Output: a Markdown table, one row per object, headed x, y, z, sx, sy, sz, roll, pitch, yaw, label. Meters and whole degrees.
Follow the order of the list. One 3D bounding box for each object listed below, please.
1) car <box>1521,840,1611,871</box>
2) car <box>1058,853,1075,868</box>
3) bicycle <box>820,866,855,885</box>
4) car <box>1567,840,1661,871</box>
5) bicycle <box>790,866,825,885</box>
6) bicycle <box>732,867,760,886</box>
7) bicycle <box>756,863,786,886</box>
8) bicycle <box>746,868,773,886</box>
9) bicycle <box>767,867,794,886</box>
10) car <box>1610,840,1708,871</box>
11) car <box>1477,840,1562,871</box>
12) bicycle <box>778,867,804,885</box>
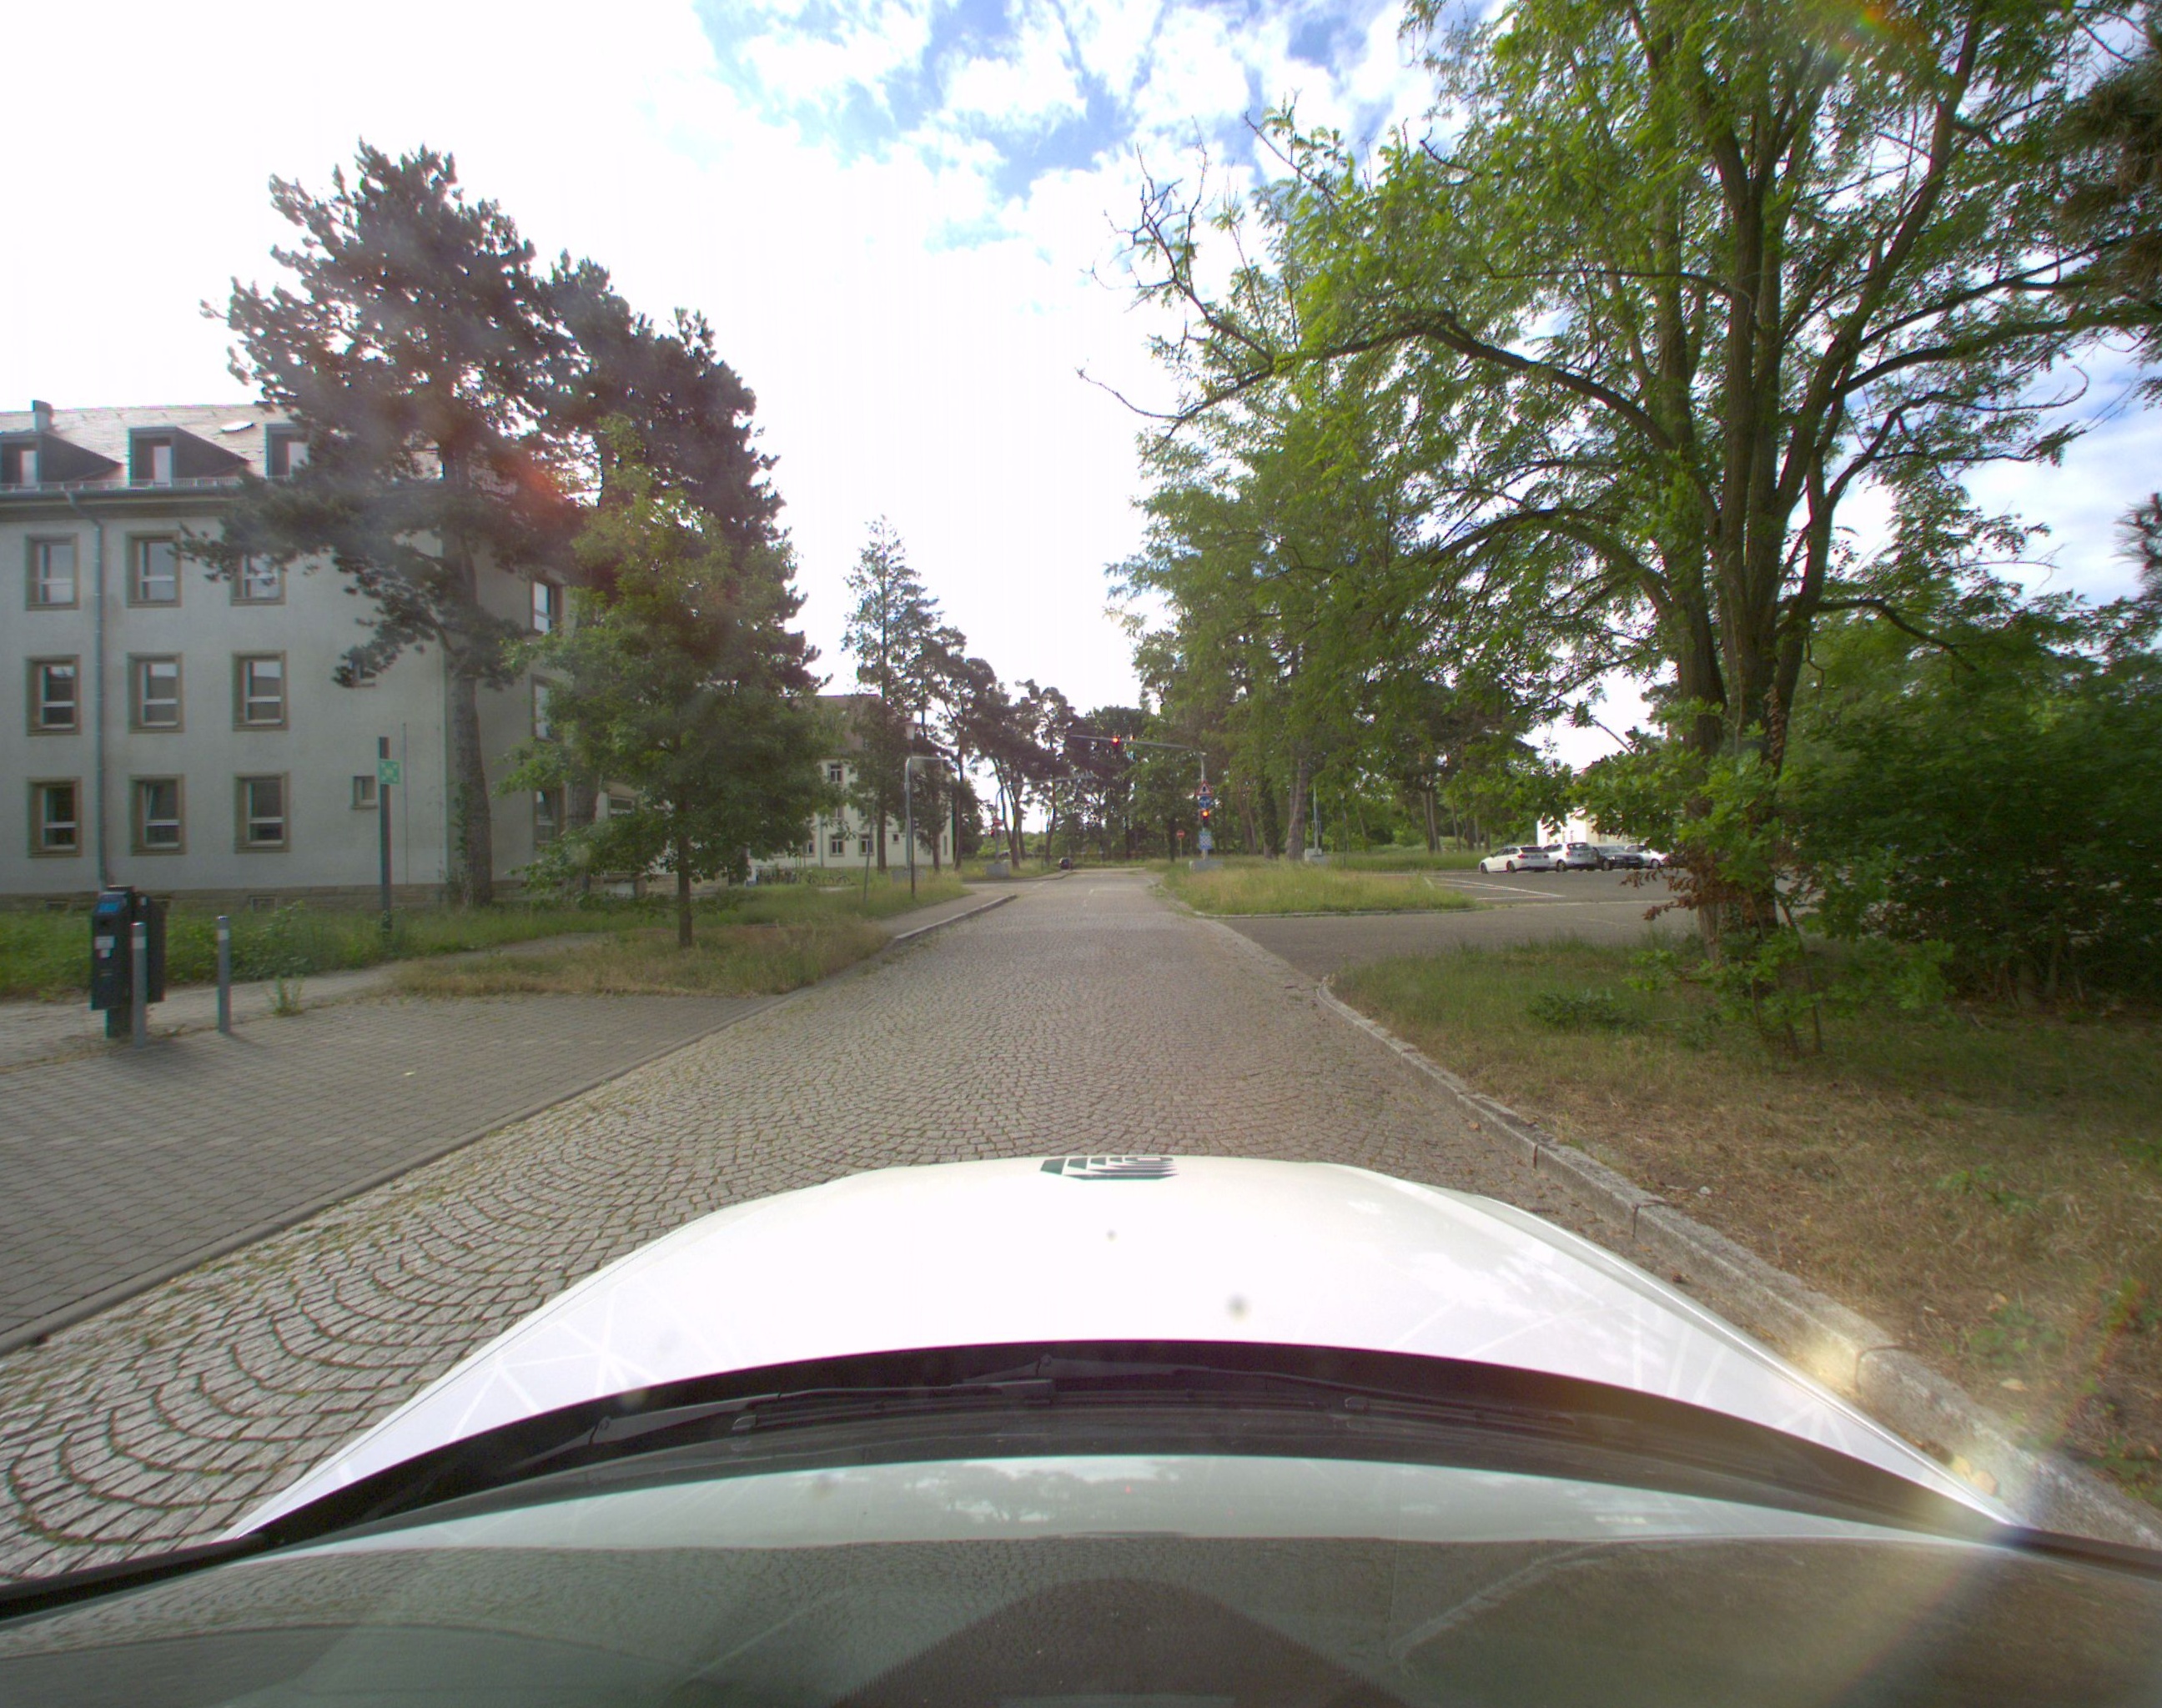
| x | y | z | sx | sy | sz | roll | pitch | yaw | label |
| --- | --- | --- | --- | --- | --- | --- | --- | --- | --- |
| 25.486 | 0.116 | 42.986 | 1.988 | 1.481 | 4.422 | -2 | -2 | -2 | car |
| -1.892 | 0.831 | 107.035 | 2.048 | 1.846 | 4.001 | -2 | 0 | 1 | car |
| -14.910 | 1.299 | 49.970 | 1.848 | 1.076 | 0.832 | -2 | 0 | 3 | bicycle |
| 28.156 | 0.119 | 43.215 | 1.988 | 1.481 | 4.422 | -2 | -2 | -2 | car |
| -16.794 | 1.334 | 49.976 | 1.848 | 1.076 | 0.739 | -2 | 0 | 3 | bicycle |
| -21.063 | 1.413 | 51.221 | 0.733 | 1.076 | 2.274 | -1 | 0 | 2 | bicycle |
| -19.609 | 1.274 | 51.571 | 0.733 | 1.385 | 2.713 | -1 | 0 | 2 | bicycle |
| -20.401 | 1.424 | 51.699 | 0.733 | 1.076 | 2.274 | -1 | 0 | 2 | bicycle |
| -18.876 | 1.403 | 51.198 | 0.733 | 1.076 | 2.274 | -1 | 0 | 2 | bicycle |
| 30.833 | 0.102 | 43.629 | 1.988 | 1.523 | 4.422 | 0 | -2 | -2 | car |
| 22.971 | 0.114 | 42.866 | 1.988 | 1.481 | 4.422 | -2 | -2 | -2 | car |
| -18.233 | 1.382 | 51.263 | 0.733 | 1.076 | 2.274 | -1 | 0 | 2 | bicycle |
